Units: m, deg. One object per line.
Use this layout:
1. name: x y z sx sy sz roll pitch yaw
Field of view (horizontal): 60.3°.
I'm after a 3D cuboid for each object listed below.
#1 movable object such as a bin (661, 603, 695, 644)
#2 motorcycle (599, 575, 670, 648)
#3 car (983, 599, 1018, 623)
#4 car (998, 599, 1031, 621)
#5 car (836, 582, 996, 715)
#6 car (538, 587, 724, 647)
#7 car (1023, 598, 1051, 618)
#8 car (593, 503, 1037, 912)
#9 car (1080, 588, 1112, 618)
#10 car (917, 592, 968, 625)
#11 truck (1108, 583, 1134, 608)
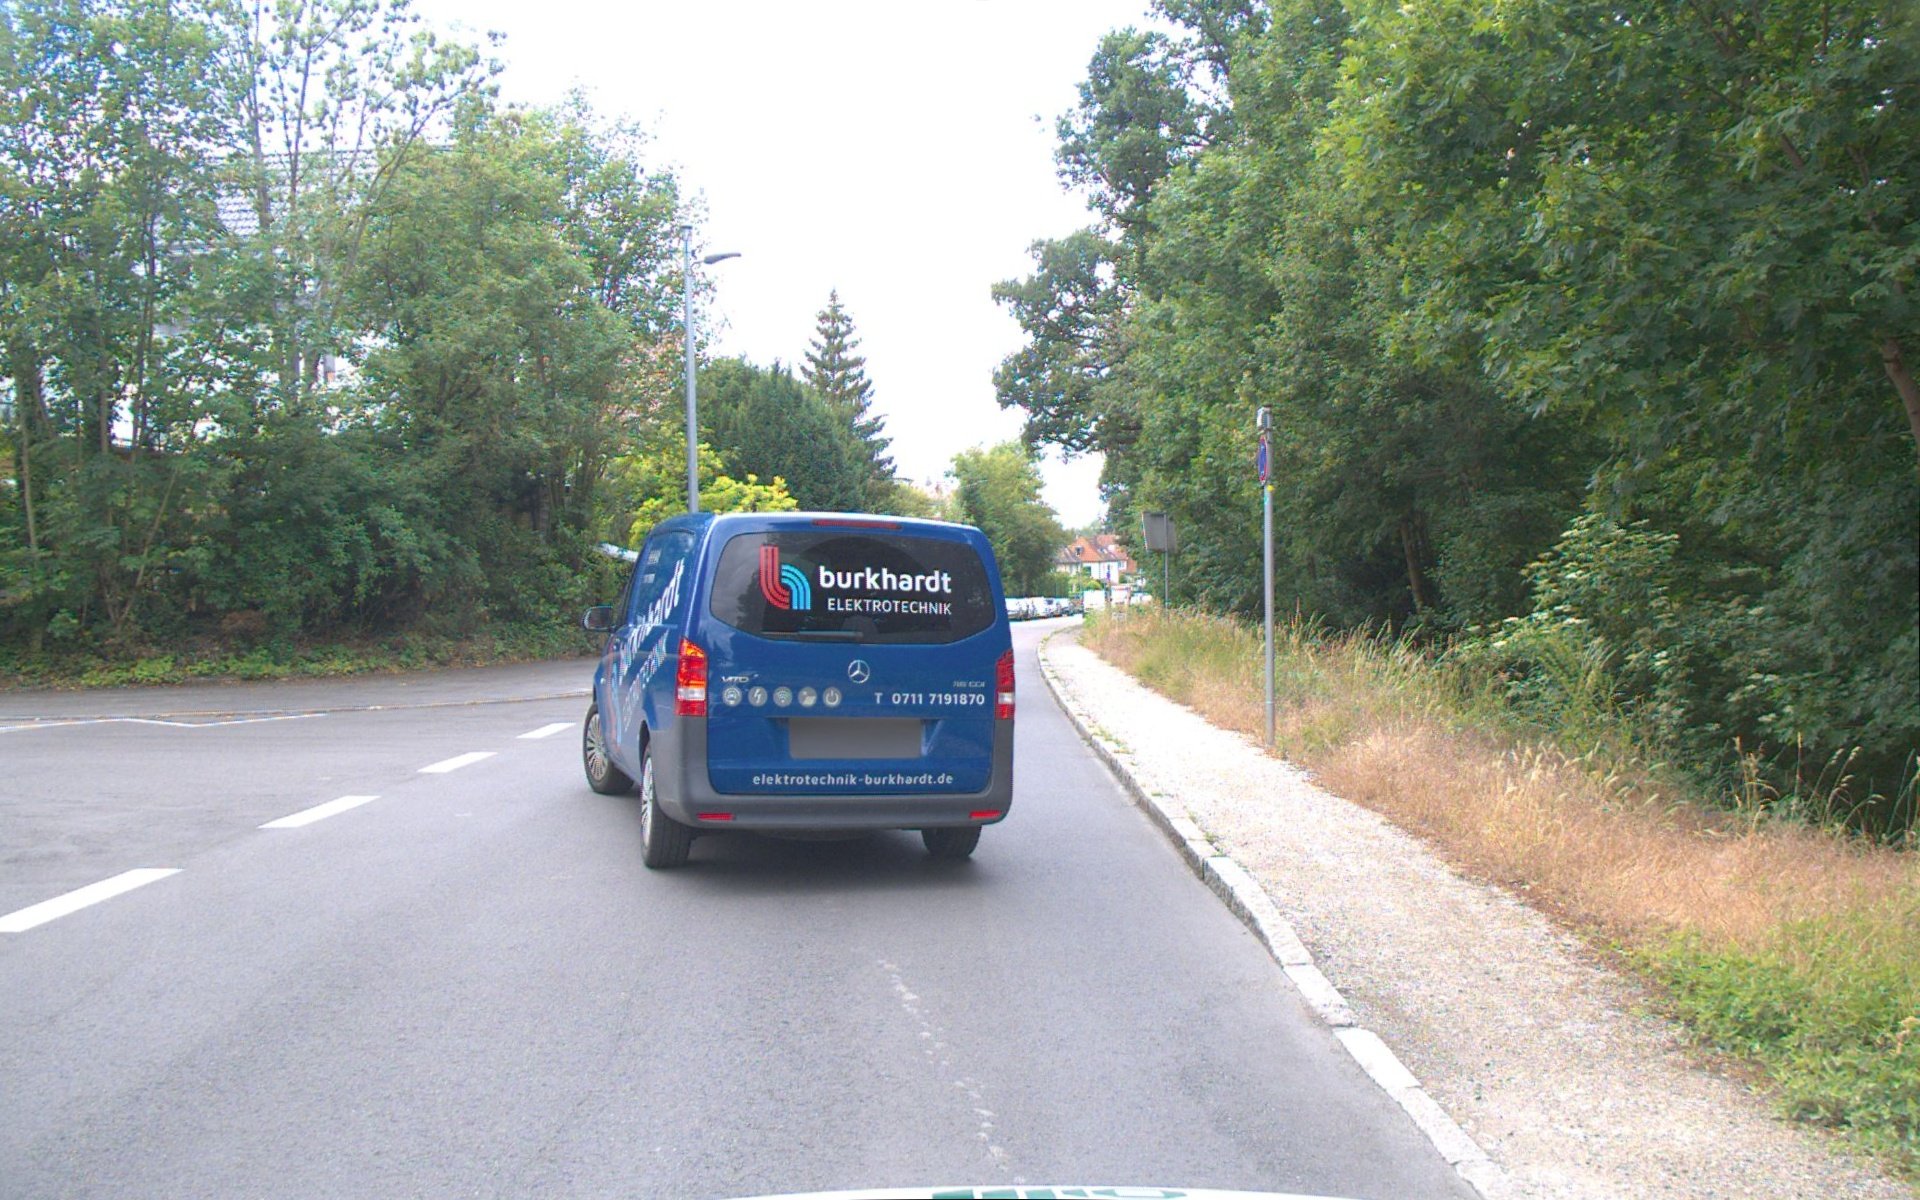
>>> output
1. movable object such as a bin: -6.515 0.539 38.261 0.578 0.925 0.701 1 0 8
2. motorcycle: -7.090 0.235 36.181 0.793 1.511 2.897 1 0 4
3. car: 2.541 0.650 101.942 1.712 1.429 4.003 1 0 7
4. car: 3.584 0.643 108.052 1.712 1.429 4.003 1 0 7
5. car: -0.449 0.542 20.716 1.698 1.472 4.182 1 0 2
6. car: -8.560 0.428 43.236 4.386 1.466 1.880 1 0 5
7. car: 5.649 0.570 120.774 1.712 1.429 4.003 1 0 7
8. car: -1.147 0.470 10.187 1.905 1.913 4.511 0 1 -16
9. car: 9.946 0.207 120.784 2.159 2.099 6.139 0 1 7
10. car: -0.758 0.377 74.066 1.712 1.429 4.003 1 0 7
11. truck: 18.868 -0.572 193.320 2.704 2.842 9.276 0 1 7
